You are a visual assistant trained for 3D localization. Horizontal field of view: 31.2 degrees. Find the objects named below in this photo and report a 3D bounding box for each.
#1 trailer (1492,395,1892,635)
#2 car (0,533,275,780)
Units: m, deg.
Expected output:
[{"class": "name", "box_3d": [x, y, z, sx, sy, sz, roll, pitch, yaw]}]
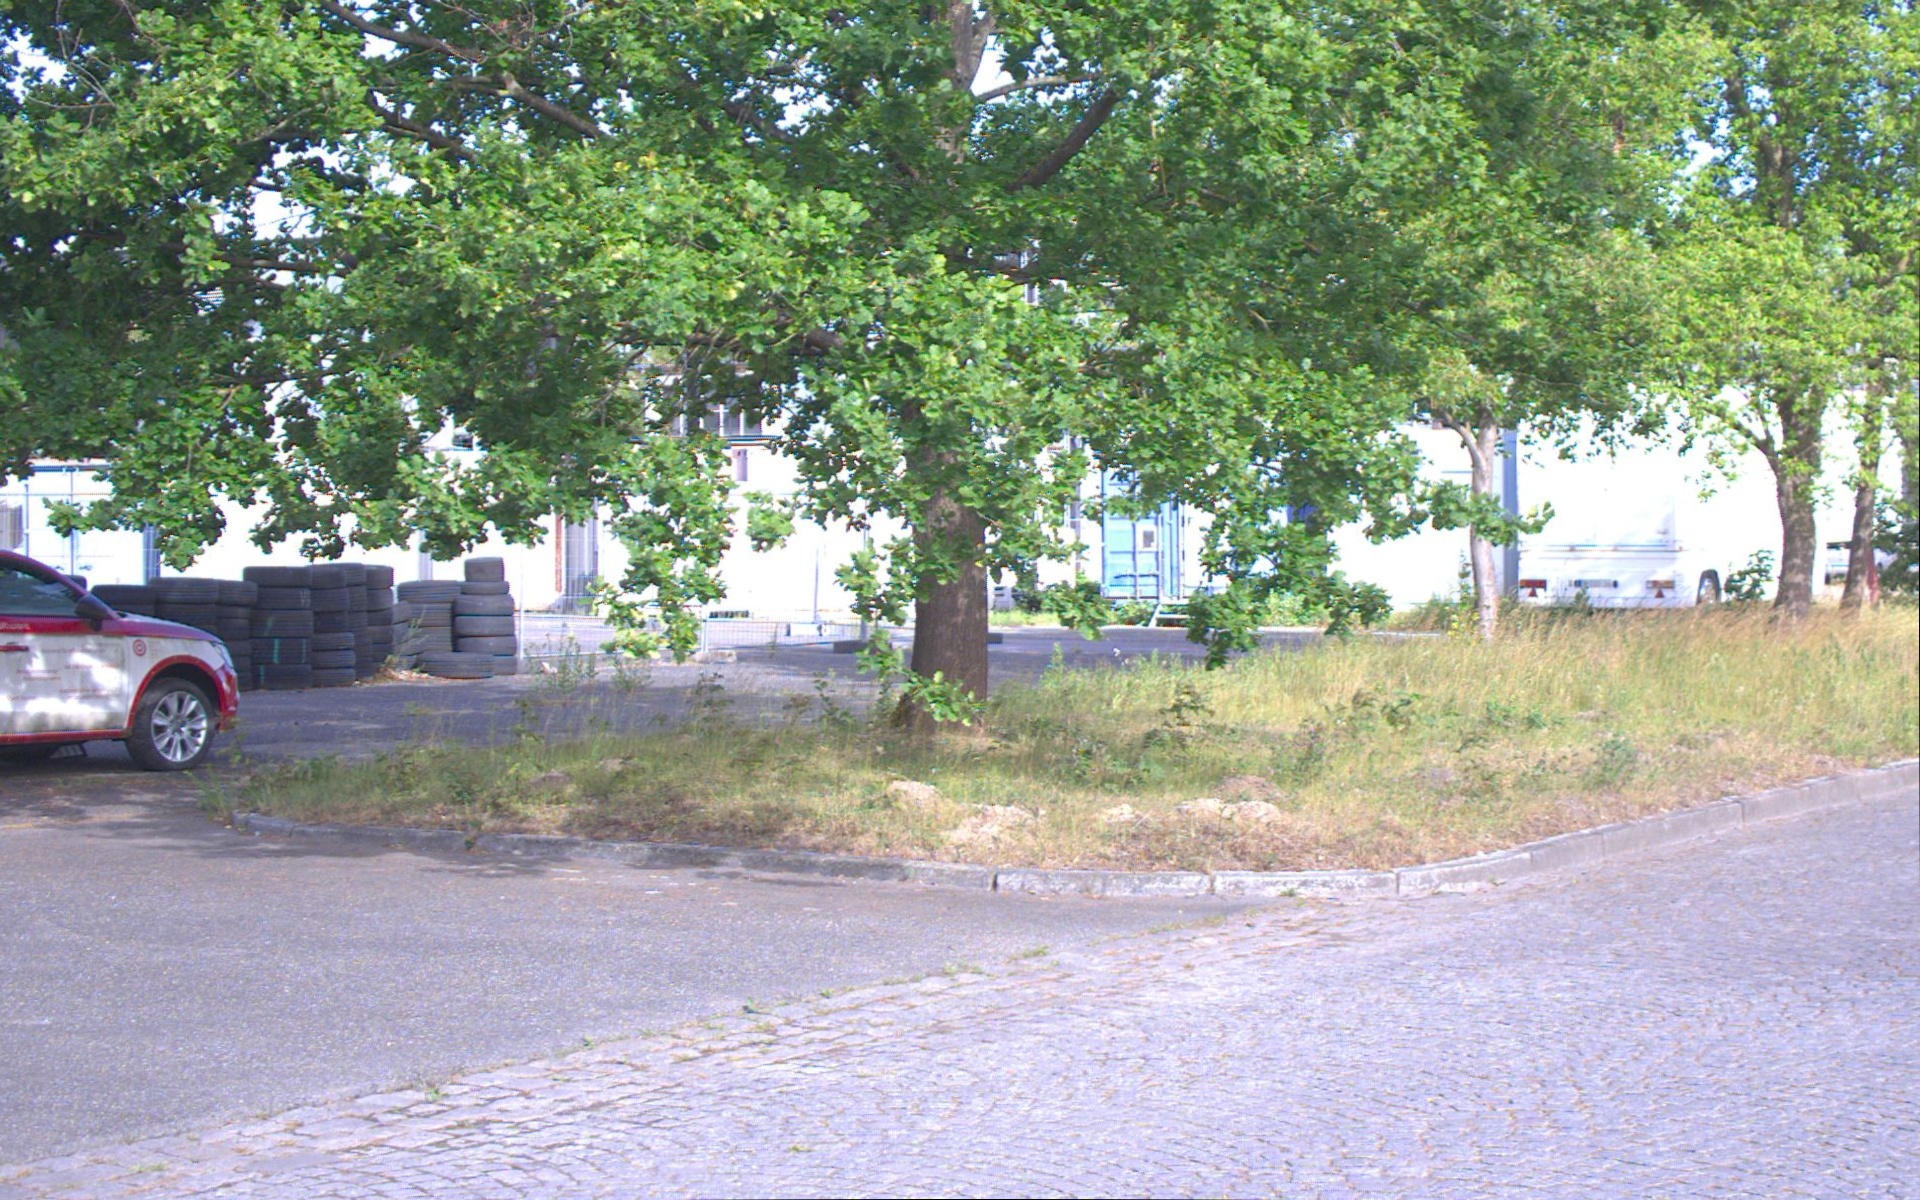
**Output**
[{"class": "trailer", "box_3d": [11.786, -1.327, 54.451, 2.922, 3.459, 9.883, 1, 1, 32]}, {"class": "car", "box_3d": [-6.278, 0.321, 20.937, 1.726, 1.459, 3.991, 1, 1, 37]}]
